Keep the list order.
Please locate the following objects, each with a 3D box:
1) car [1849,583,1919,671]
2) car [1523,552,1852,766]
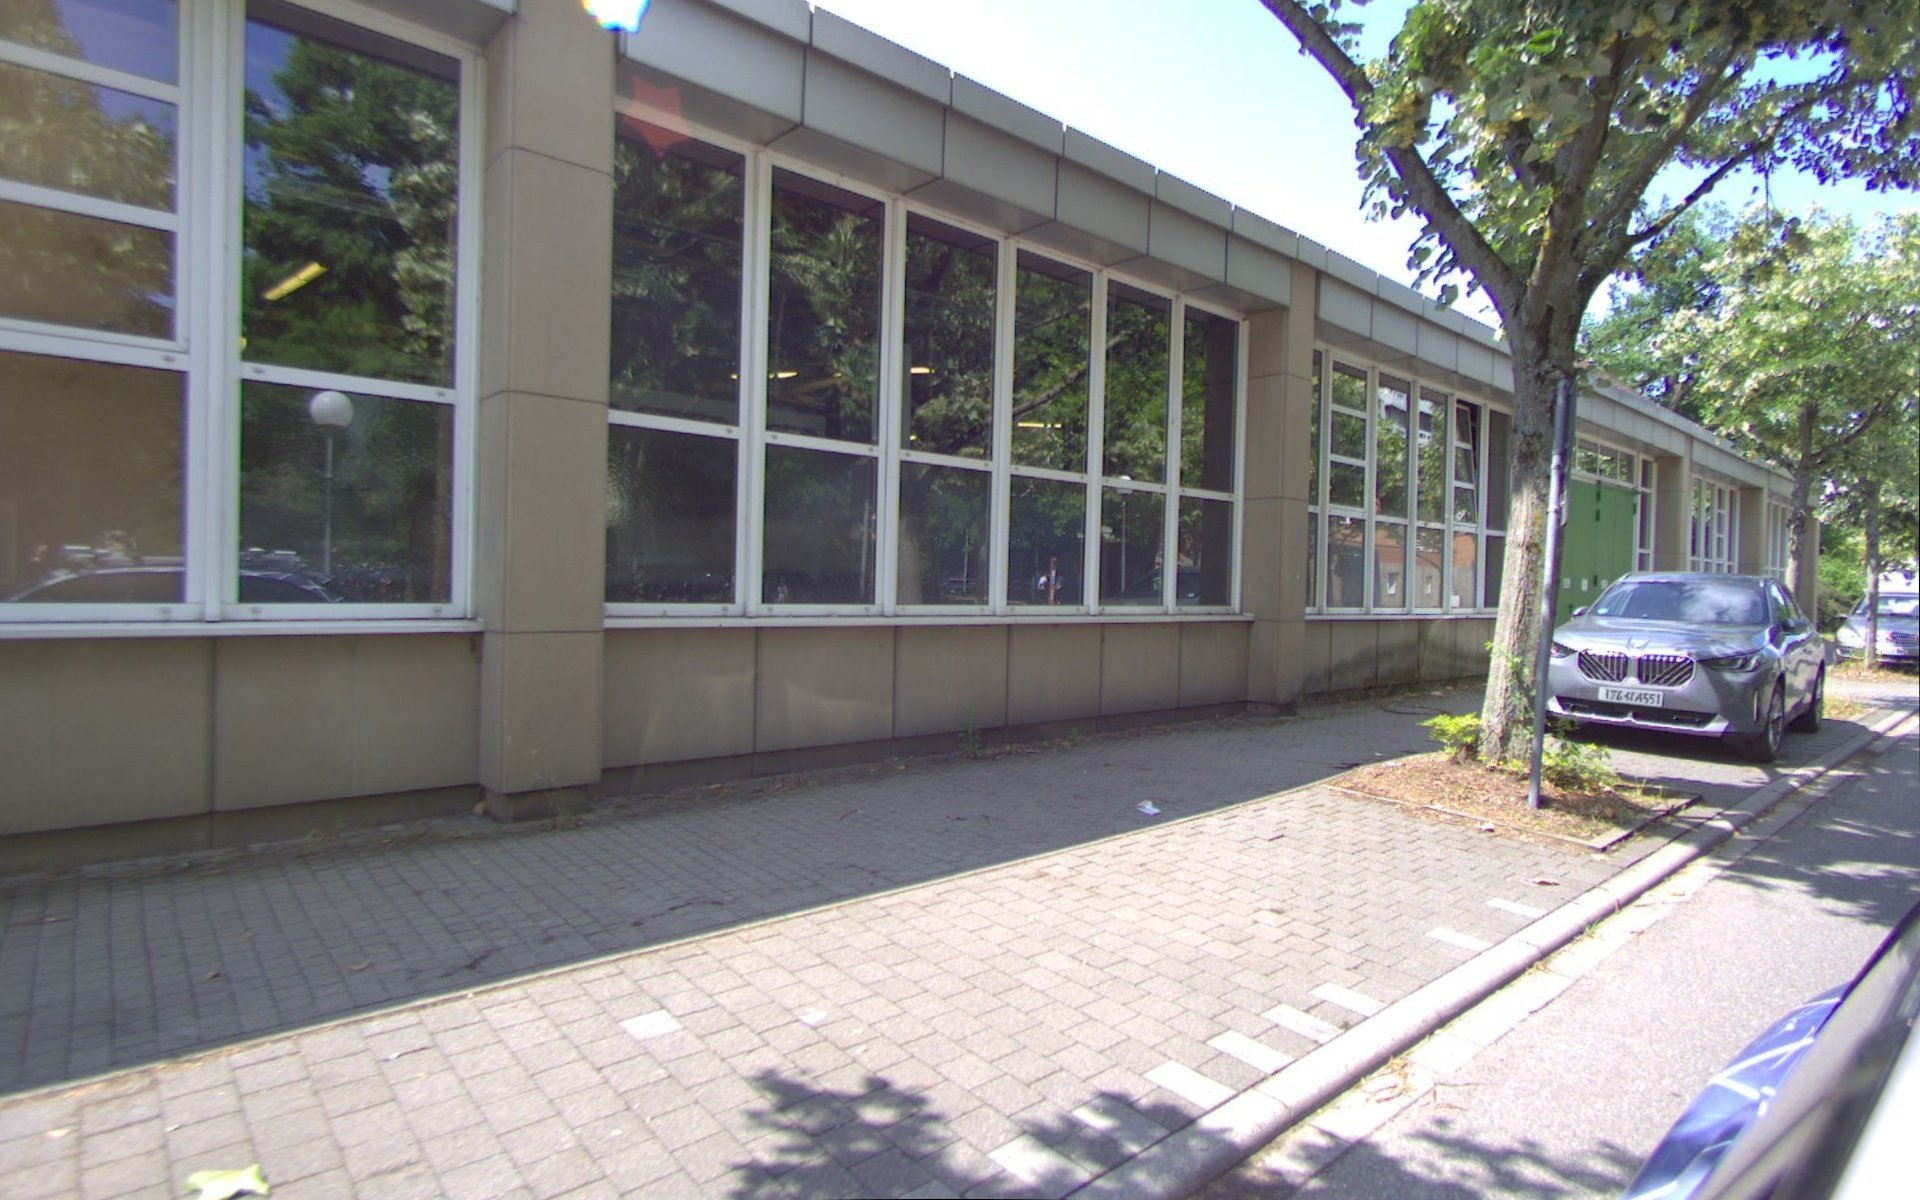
[{"bbox_3d":[19.250,0.509,20.275,4.070,1.593,1.707,0,3,-43],"label":"car"},{"bbox_3d":[7.550,0.441,10.311,4.506,1.684,1.825,0,3,-43],"label":"car"}]
